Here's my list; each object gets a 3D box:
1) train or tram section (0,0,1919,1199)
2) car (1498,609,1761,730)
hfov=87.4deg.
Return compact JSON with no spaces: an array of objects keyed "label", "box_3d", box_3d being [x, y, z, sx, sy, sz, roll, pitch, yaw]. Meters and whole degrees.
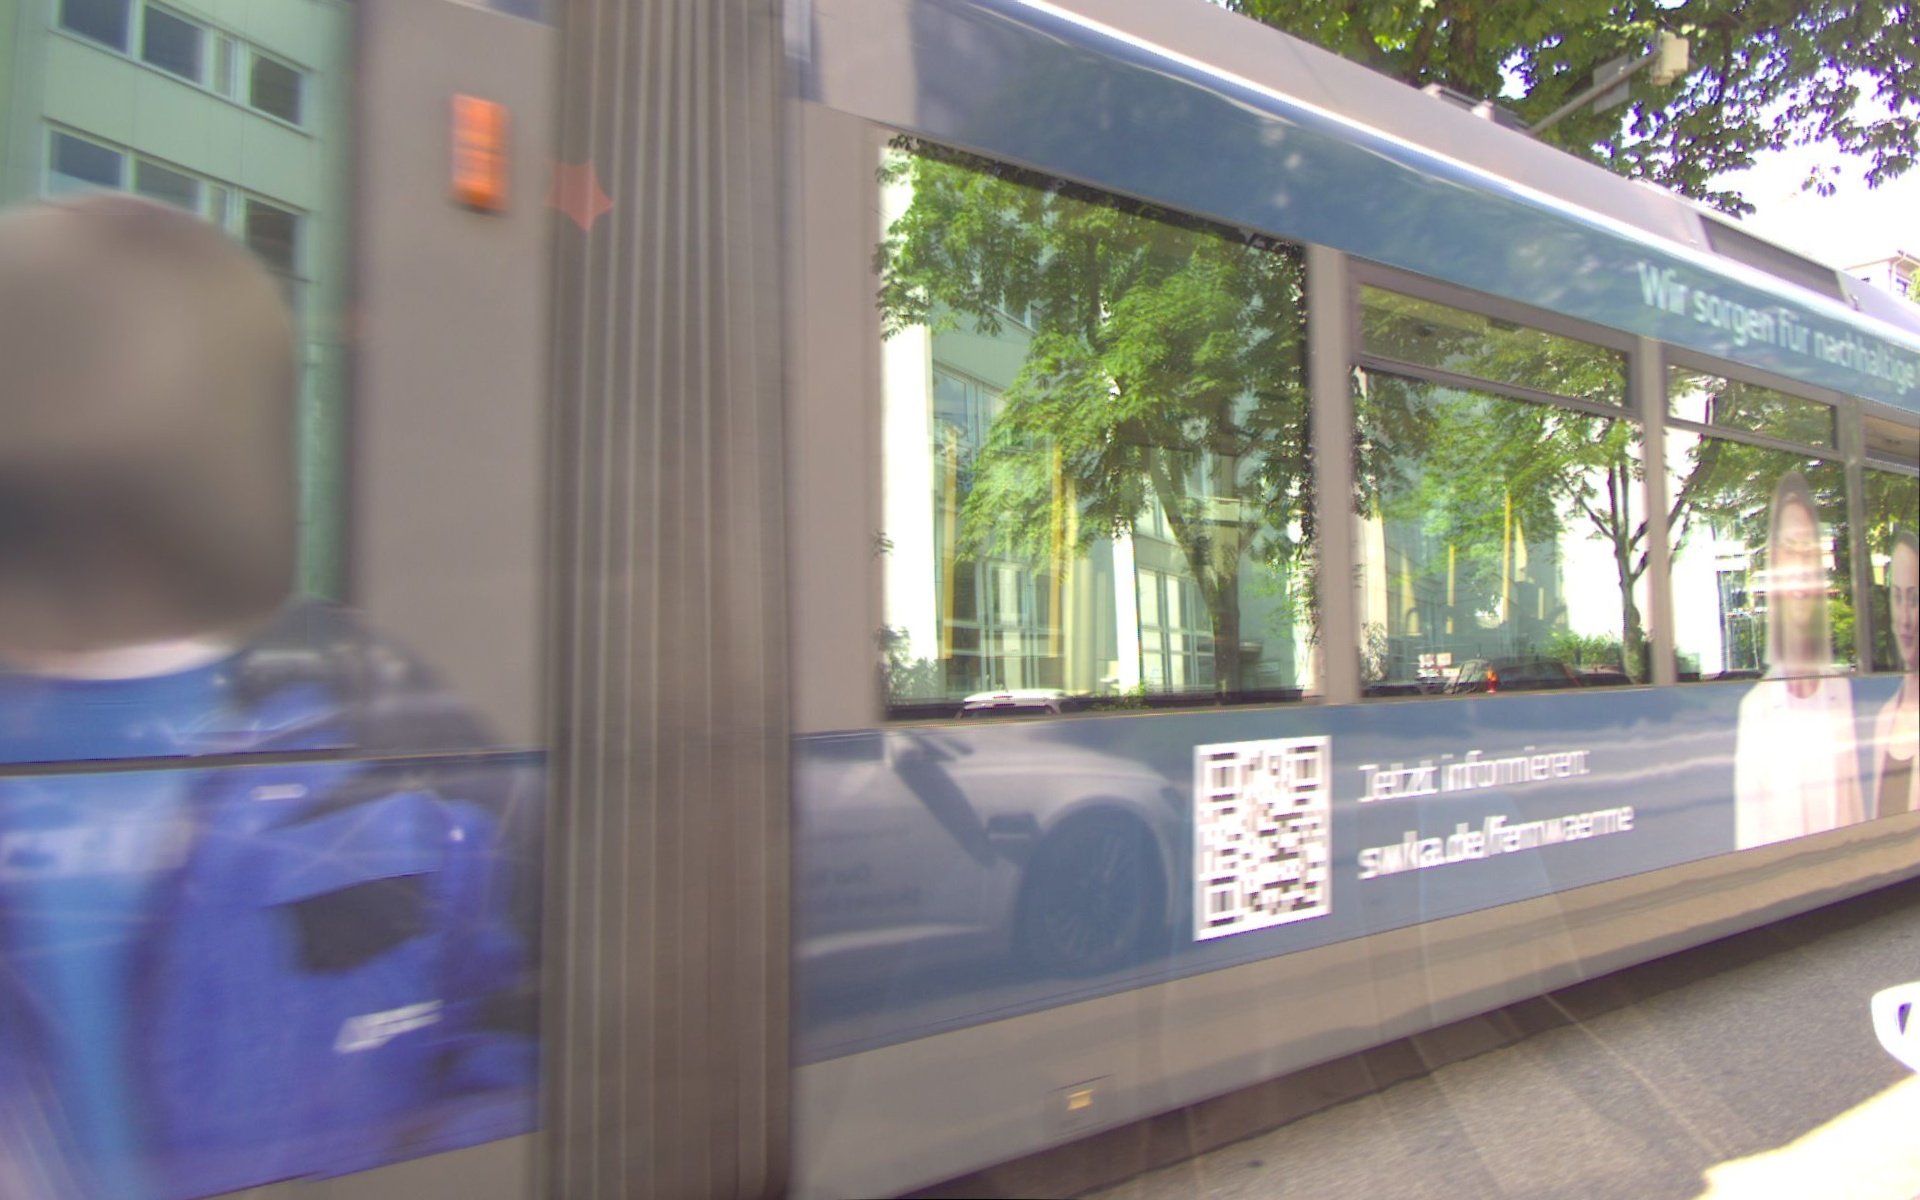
[{"label":"train or tram section","box_3d":[3.217,-0.114,5.478,13.941,3.400,2.641,2,-3,-30]},{"label":"car","box_3d":[11.038,1.077,16.477,4.667,1.687,1.741,2,1,-31]}]
